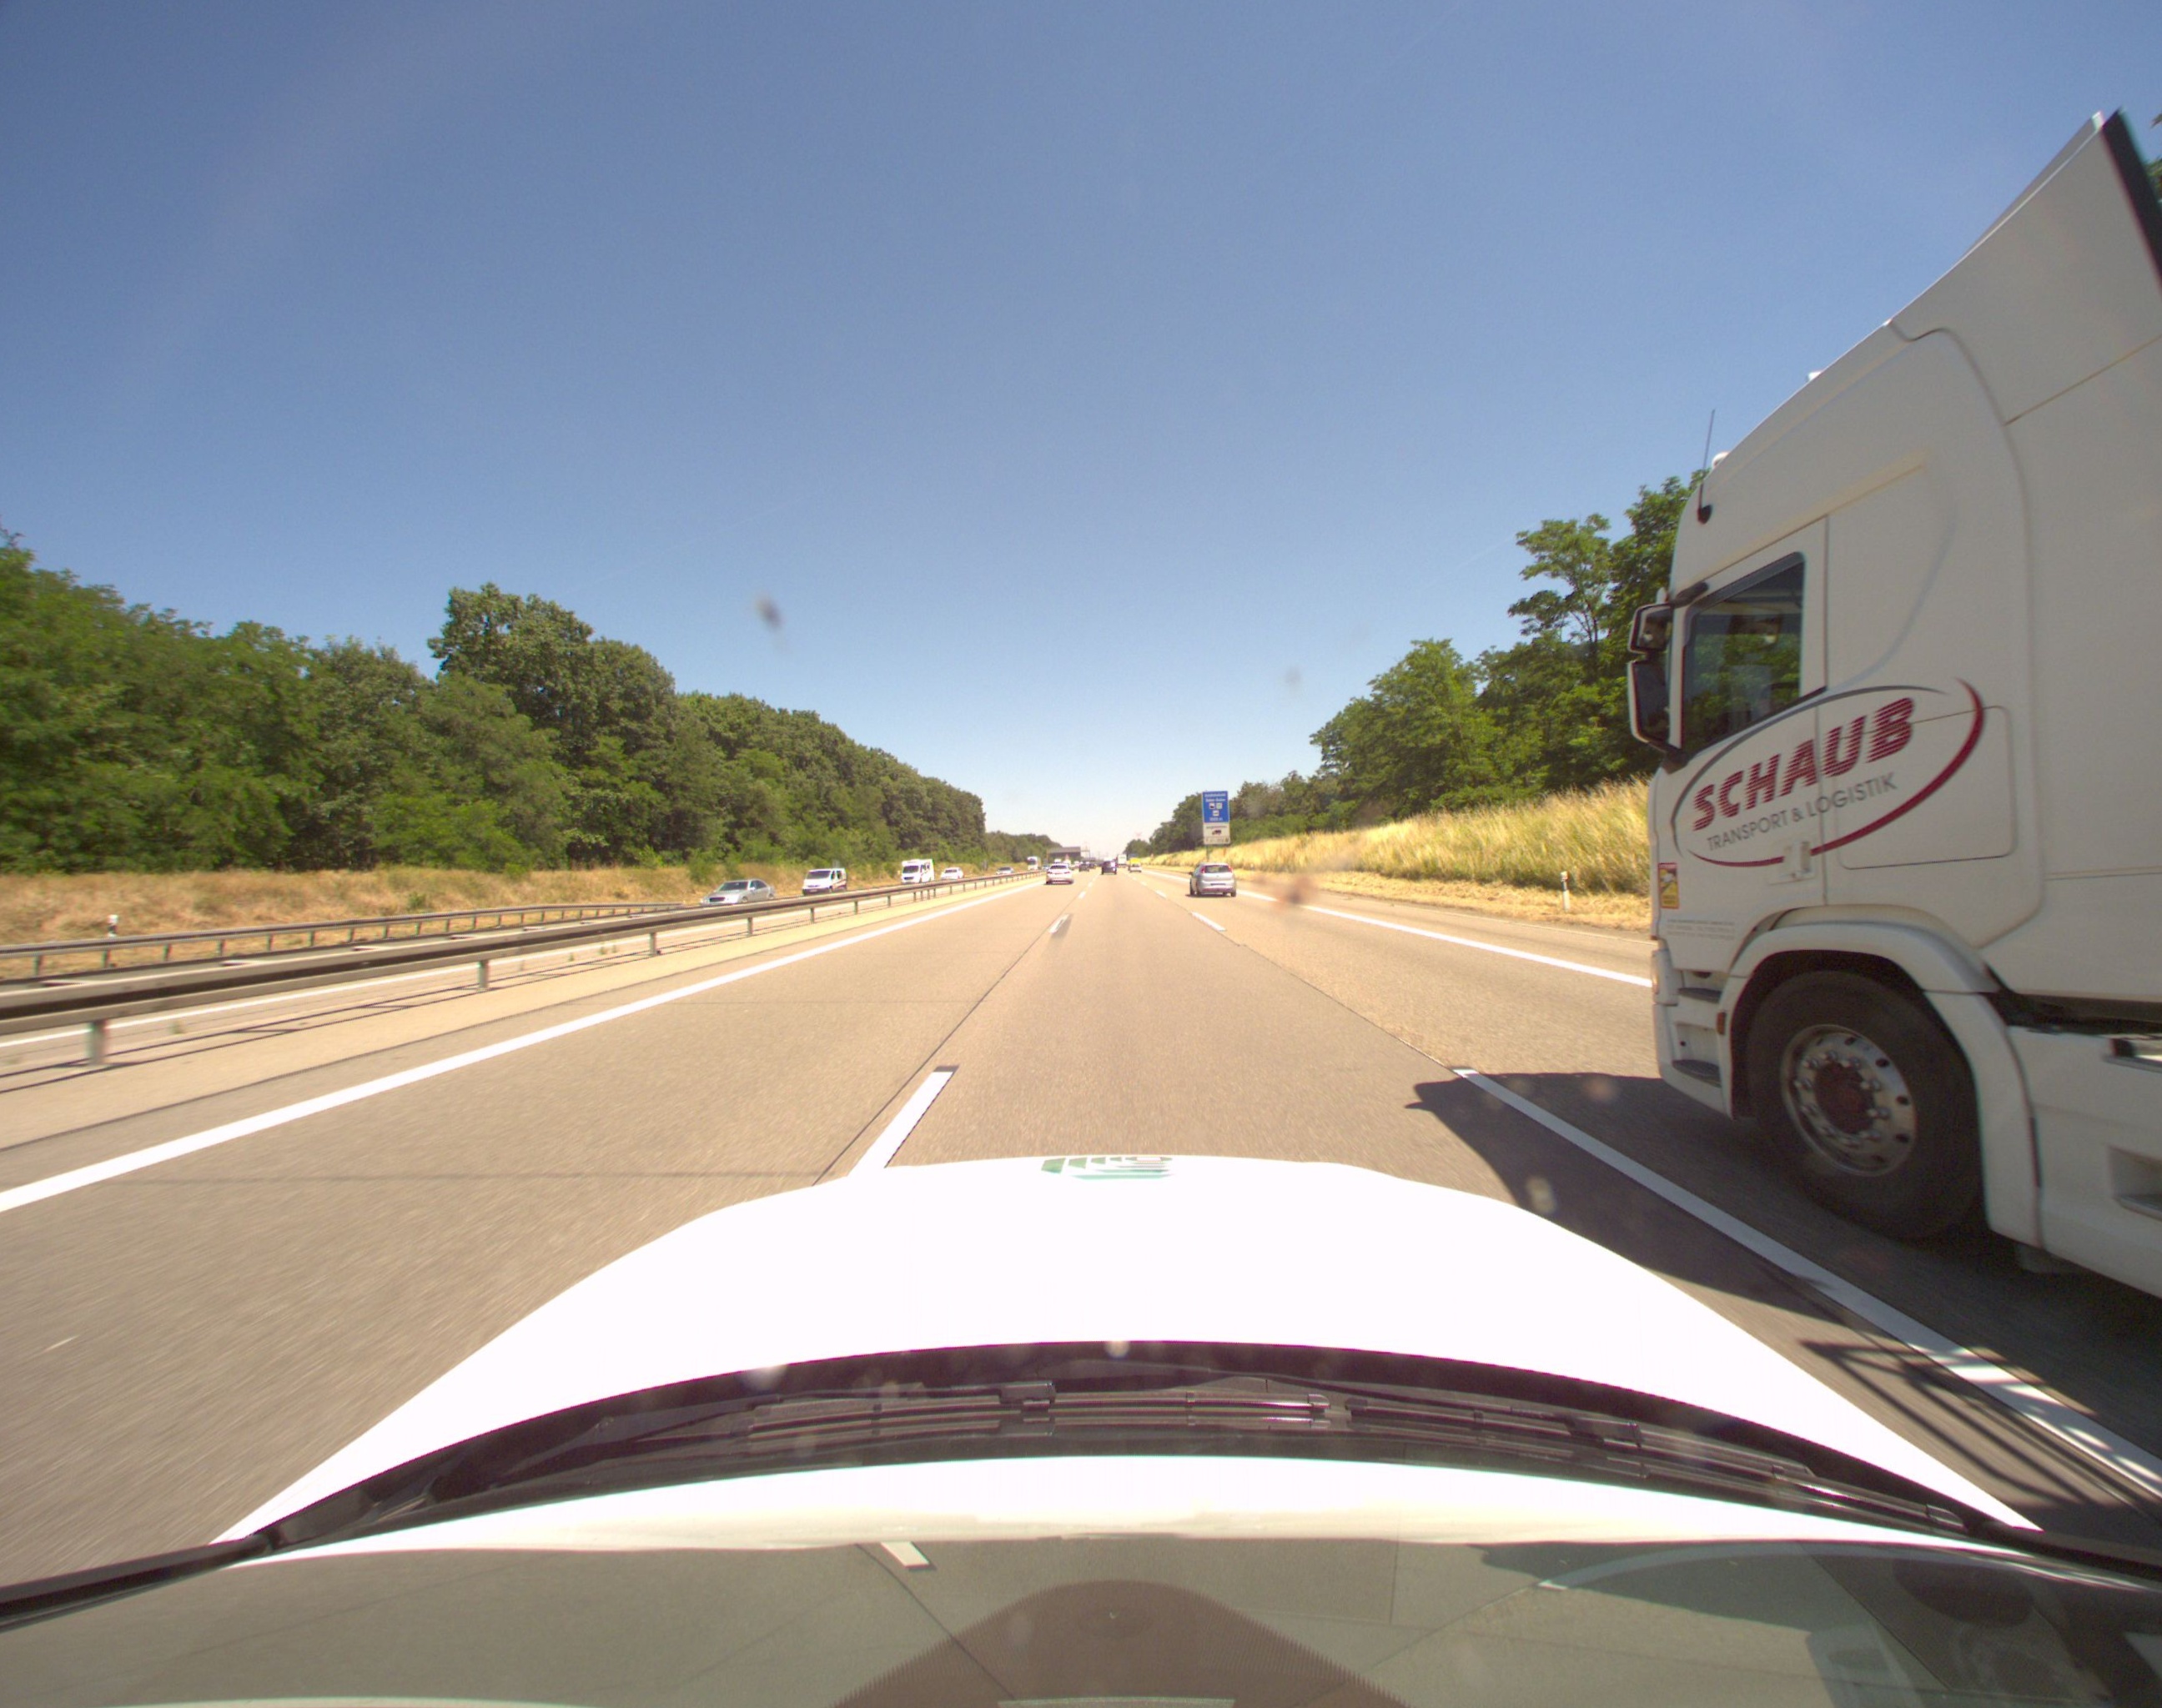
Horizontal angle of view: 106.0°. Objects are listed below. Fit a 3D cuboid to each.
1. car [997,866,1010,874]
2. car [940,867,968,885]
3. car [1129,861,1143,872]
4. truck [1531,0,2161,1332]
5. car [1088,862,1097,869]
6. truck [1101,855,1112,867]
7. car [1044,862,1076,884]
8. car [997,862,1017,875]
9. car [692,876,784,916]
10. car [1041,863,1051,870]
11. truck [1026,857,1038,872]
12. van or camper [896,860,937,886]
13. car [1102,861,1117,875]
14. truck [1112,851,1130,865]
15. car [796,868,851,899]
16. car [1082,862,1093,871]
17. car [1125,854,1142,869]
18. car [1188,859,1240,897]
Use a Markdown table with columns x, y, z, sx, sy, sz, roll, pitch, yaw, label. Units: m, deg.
| x | y | z | sx | sy | sz | roll | pitch | yaw | label |
| --- | --- | --- | --- | --- | --- | --- | --- | --- | --- |
| -15.167 | 3.158 | 159.161 | 1.807 | 1.395 | 4.113 | -4 | -1 | 2 | car |
| -13.620 | 2.371 | 87.588 | 1.986 | 1.694 | 5.247 | -4 | -1 | 2 | car |
| 8.079 | 1.871 | 119.386 | 1.816 | 1.492 | 3.735 | -1 | -1 | -1 | car |
| 4.273 | -0.595 | 2.393 | 2.674 | 3.758 | 5.946 | -1 | 0 | 2 | truck |
| 2.782 | 2.713 | 193.505 | 1.868 | 1.581 | 3.930 | -1 | 0 | 3 | car |
| 5.863 | 1.628 | 189.410 | 2.420 | 2.884 | 6.204 | -1 | -1 | 0 | truck |
| -1.488 | 1.358 | 59.416 | 1.956 | 1.504 | 5.406 | -1 | -1 | 2 | car |
| -9.214 | 1.793 | 101.583 | 1.830 | 1.373 | 4.354 | -4 | -1 | 2 | car |
| -15.595 | 1.846 | 37.332 | 1.845 | 1.527 | 5.206 | -3 | -1 | 1 | car |
| -8.816 | 3.177 | 203.737 | 1.986 | 1.568 | 4.530 | -4 | -1 | 2 | car |
| -13.668 | 2.865 | 227.710 | 2.894 | 4.067 | 5.654 | -4 | -1 | 1 | truck |
| -17.498 | 1.987 | 87.149 | 2.452 | 2.575 | 7.773 | -4 | -1 | 2 | van or camper |
| 3.599 | 1.784 | 102.903 | 1.826 | 1.672 | 3.999 | 0 | -1 | 0 | car |
| 12.002 | 1.217 | 246.186 | 3.986 | 4.315 | 9.863 | 0 | -1 | -5 | truck |
| -18.389 | 2.071 | 58.381 | 1.986 | 1.953 | 5.247 | -4 | -1 | 2 | car |
| 1.140 | 2.126 | 142.109 | 1.825 | 1.431 | 5.001 | -1 | 0 | 2 | car |
| 9.554 | 1.335 | 147.819 | 2.658 | 2.634 | 6.112 | -1 | -1 | 0 | car |
| 5.701 | 1.011 | 35.237 | 1.713 | 1.491 | 3.737 | -1 | 0 | 1 | car |
